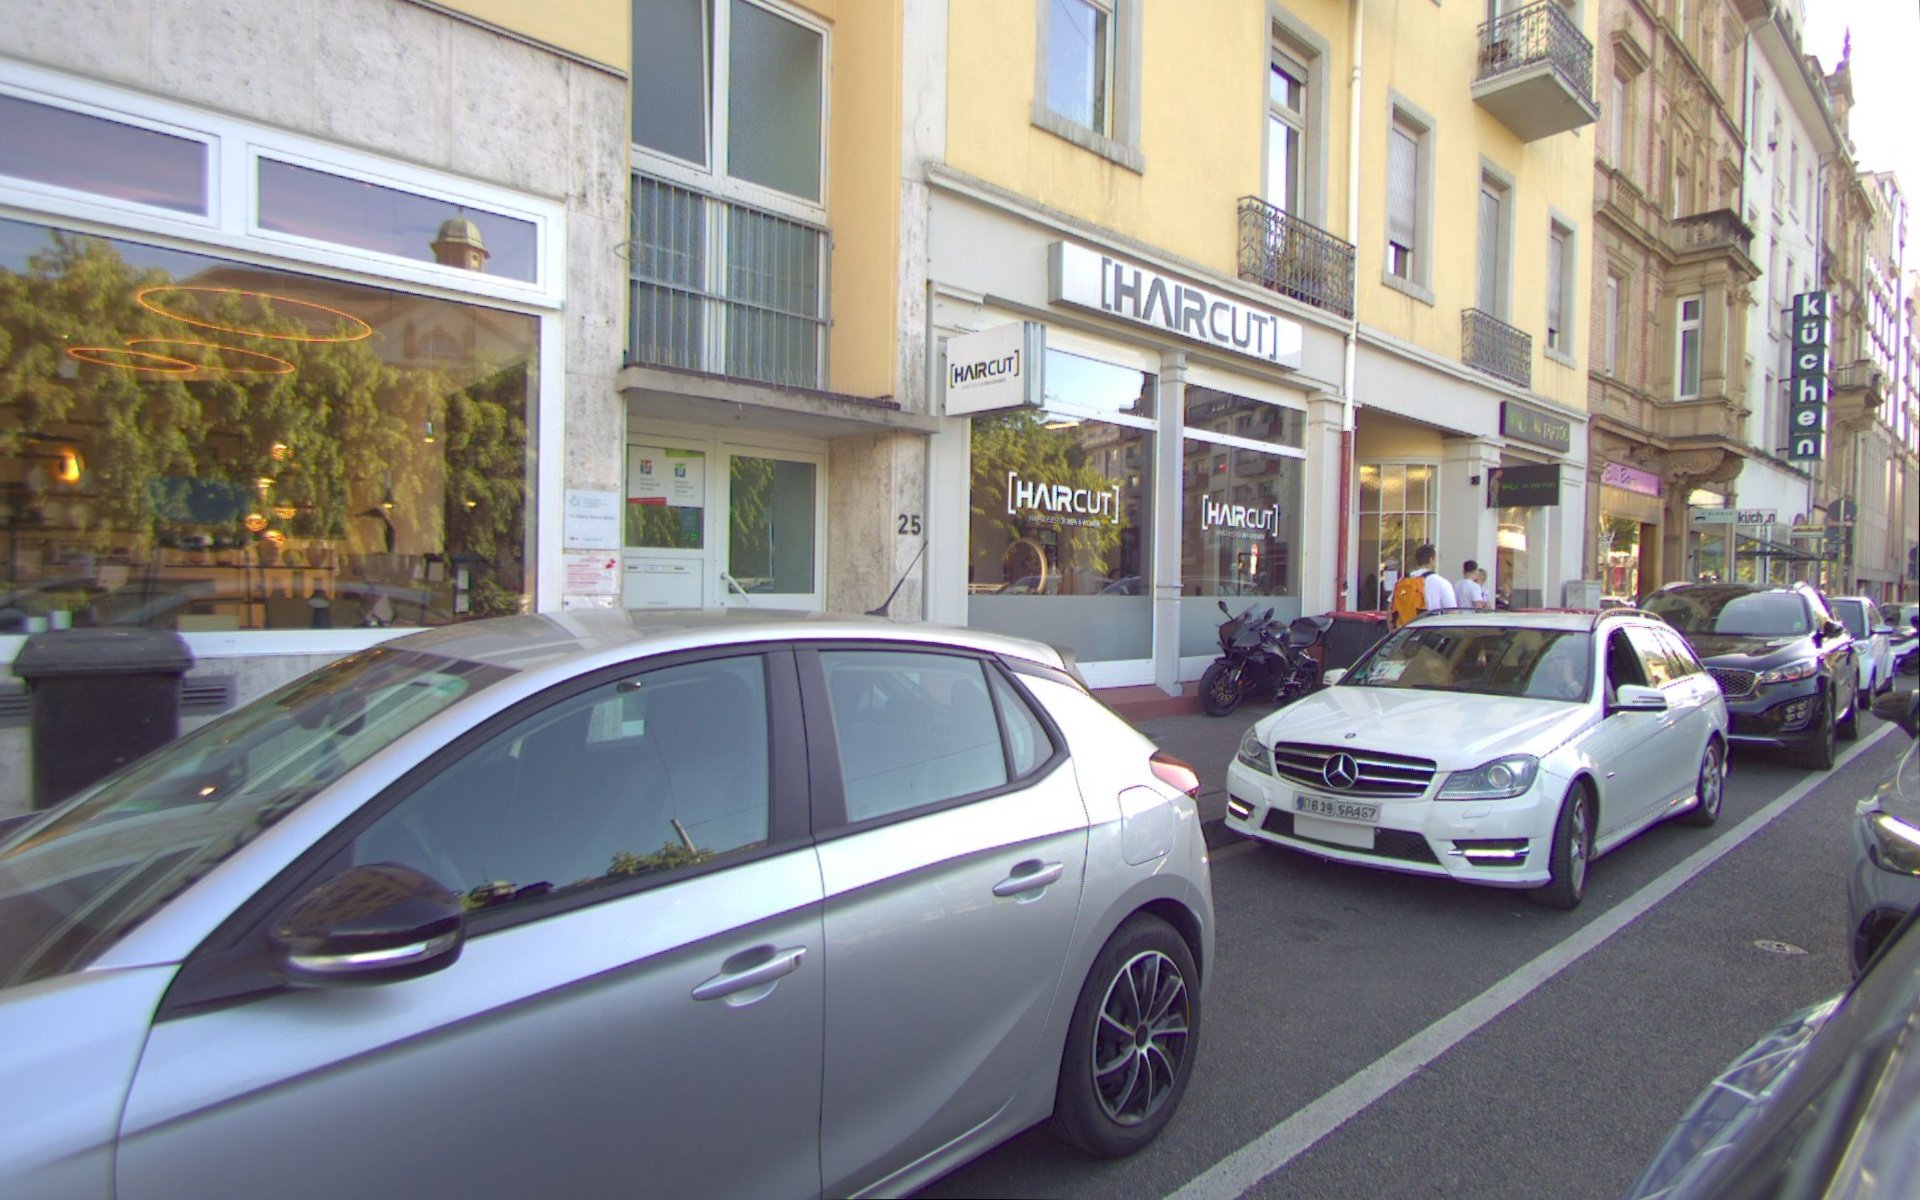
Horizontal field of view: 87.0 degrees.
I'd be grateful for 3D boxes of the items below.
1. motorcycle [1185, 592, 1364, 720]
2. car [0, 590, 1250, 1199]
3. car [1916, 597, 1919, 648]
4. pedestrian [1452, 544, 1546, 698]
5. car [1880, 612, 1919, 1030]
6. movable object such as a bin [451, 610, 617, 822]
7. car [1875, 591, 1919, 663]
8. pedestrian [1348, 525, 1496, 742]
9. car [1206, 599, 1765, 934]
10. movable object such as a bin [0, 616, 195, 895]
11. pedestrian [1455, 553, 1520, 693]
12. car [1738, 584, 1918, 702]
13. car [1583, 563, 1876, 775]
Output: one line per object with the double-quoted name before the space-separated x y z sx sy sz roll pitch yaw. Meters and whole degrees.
"motorcycle" 3.295 0.523 10.497 2.073 1.144 0.735 -1 5 -41
"car" -1.012 0.715 2.300 3.625 1.455 1.585 -1 0 -43
"car" 26.604 0.572 26.920 3.306 1.334 1.459 -1 0 -42
"pedestrian" 6.845 0.253 12.879 0.961 1.900 0.532 0 0 18
"car" 5.392 0.749 4.369 4.397 1.385 1.767 -1 1 -43
"movable object such as a bin" -2.333 0.581 5.530 0.639 1.036 0.737 0 0 -41
"car" 21.892 0.564 22.802 3.736 1.509 1.691 -1 0 -45
"pedestrian" 4.204 0.264 9.210 0.964 1.845 0.811 0 3 -37
"car" 3.527 0.708 6.380 4.301 1.389 1.671 -1 0 -41
"movable object such as a bin" -3.688 0.599 4.308 0.639 1.036 0.737 0 0 -41
"pedestrian" 7.234 0.300 13.867 0.627 1.859 0.760 0 0 41
"car" 12.765 0.546 14.846 2.945 1.542 1.582 -1 0 -41
"car" 8.004 0.530 10.359 4.338 1.711 1.802 -1 0 -45
